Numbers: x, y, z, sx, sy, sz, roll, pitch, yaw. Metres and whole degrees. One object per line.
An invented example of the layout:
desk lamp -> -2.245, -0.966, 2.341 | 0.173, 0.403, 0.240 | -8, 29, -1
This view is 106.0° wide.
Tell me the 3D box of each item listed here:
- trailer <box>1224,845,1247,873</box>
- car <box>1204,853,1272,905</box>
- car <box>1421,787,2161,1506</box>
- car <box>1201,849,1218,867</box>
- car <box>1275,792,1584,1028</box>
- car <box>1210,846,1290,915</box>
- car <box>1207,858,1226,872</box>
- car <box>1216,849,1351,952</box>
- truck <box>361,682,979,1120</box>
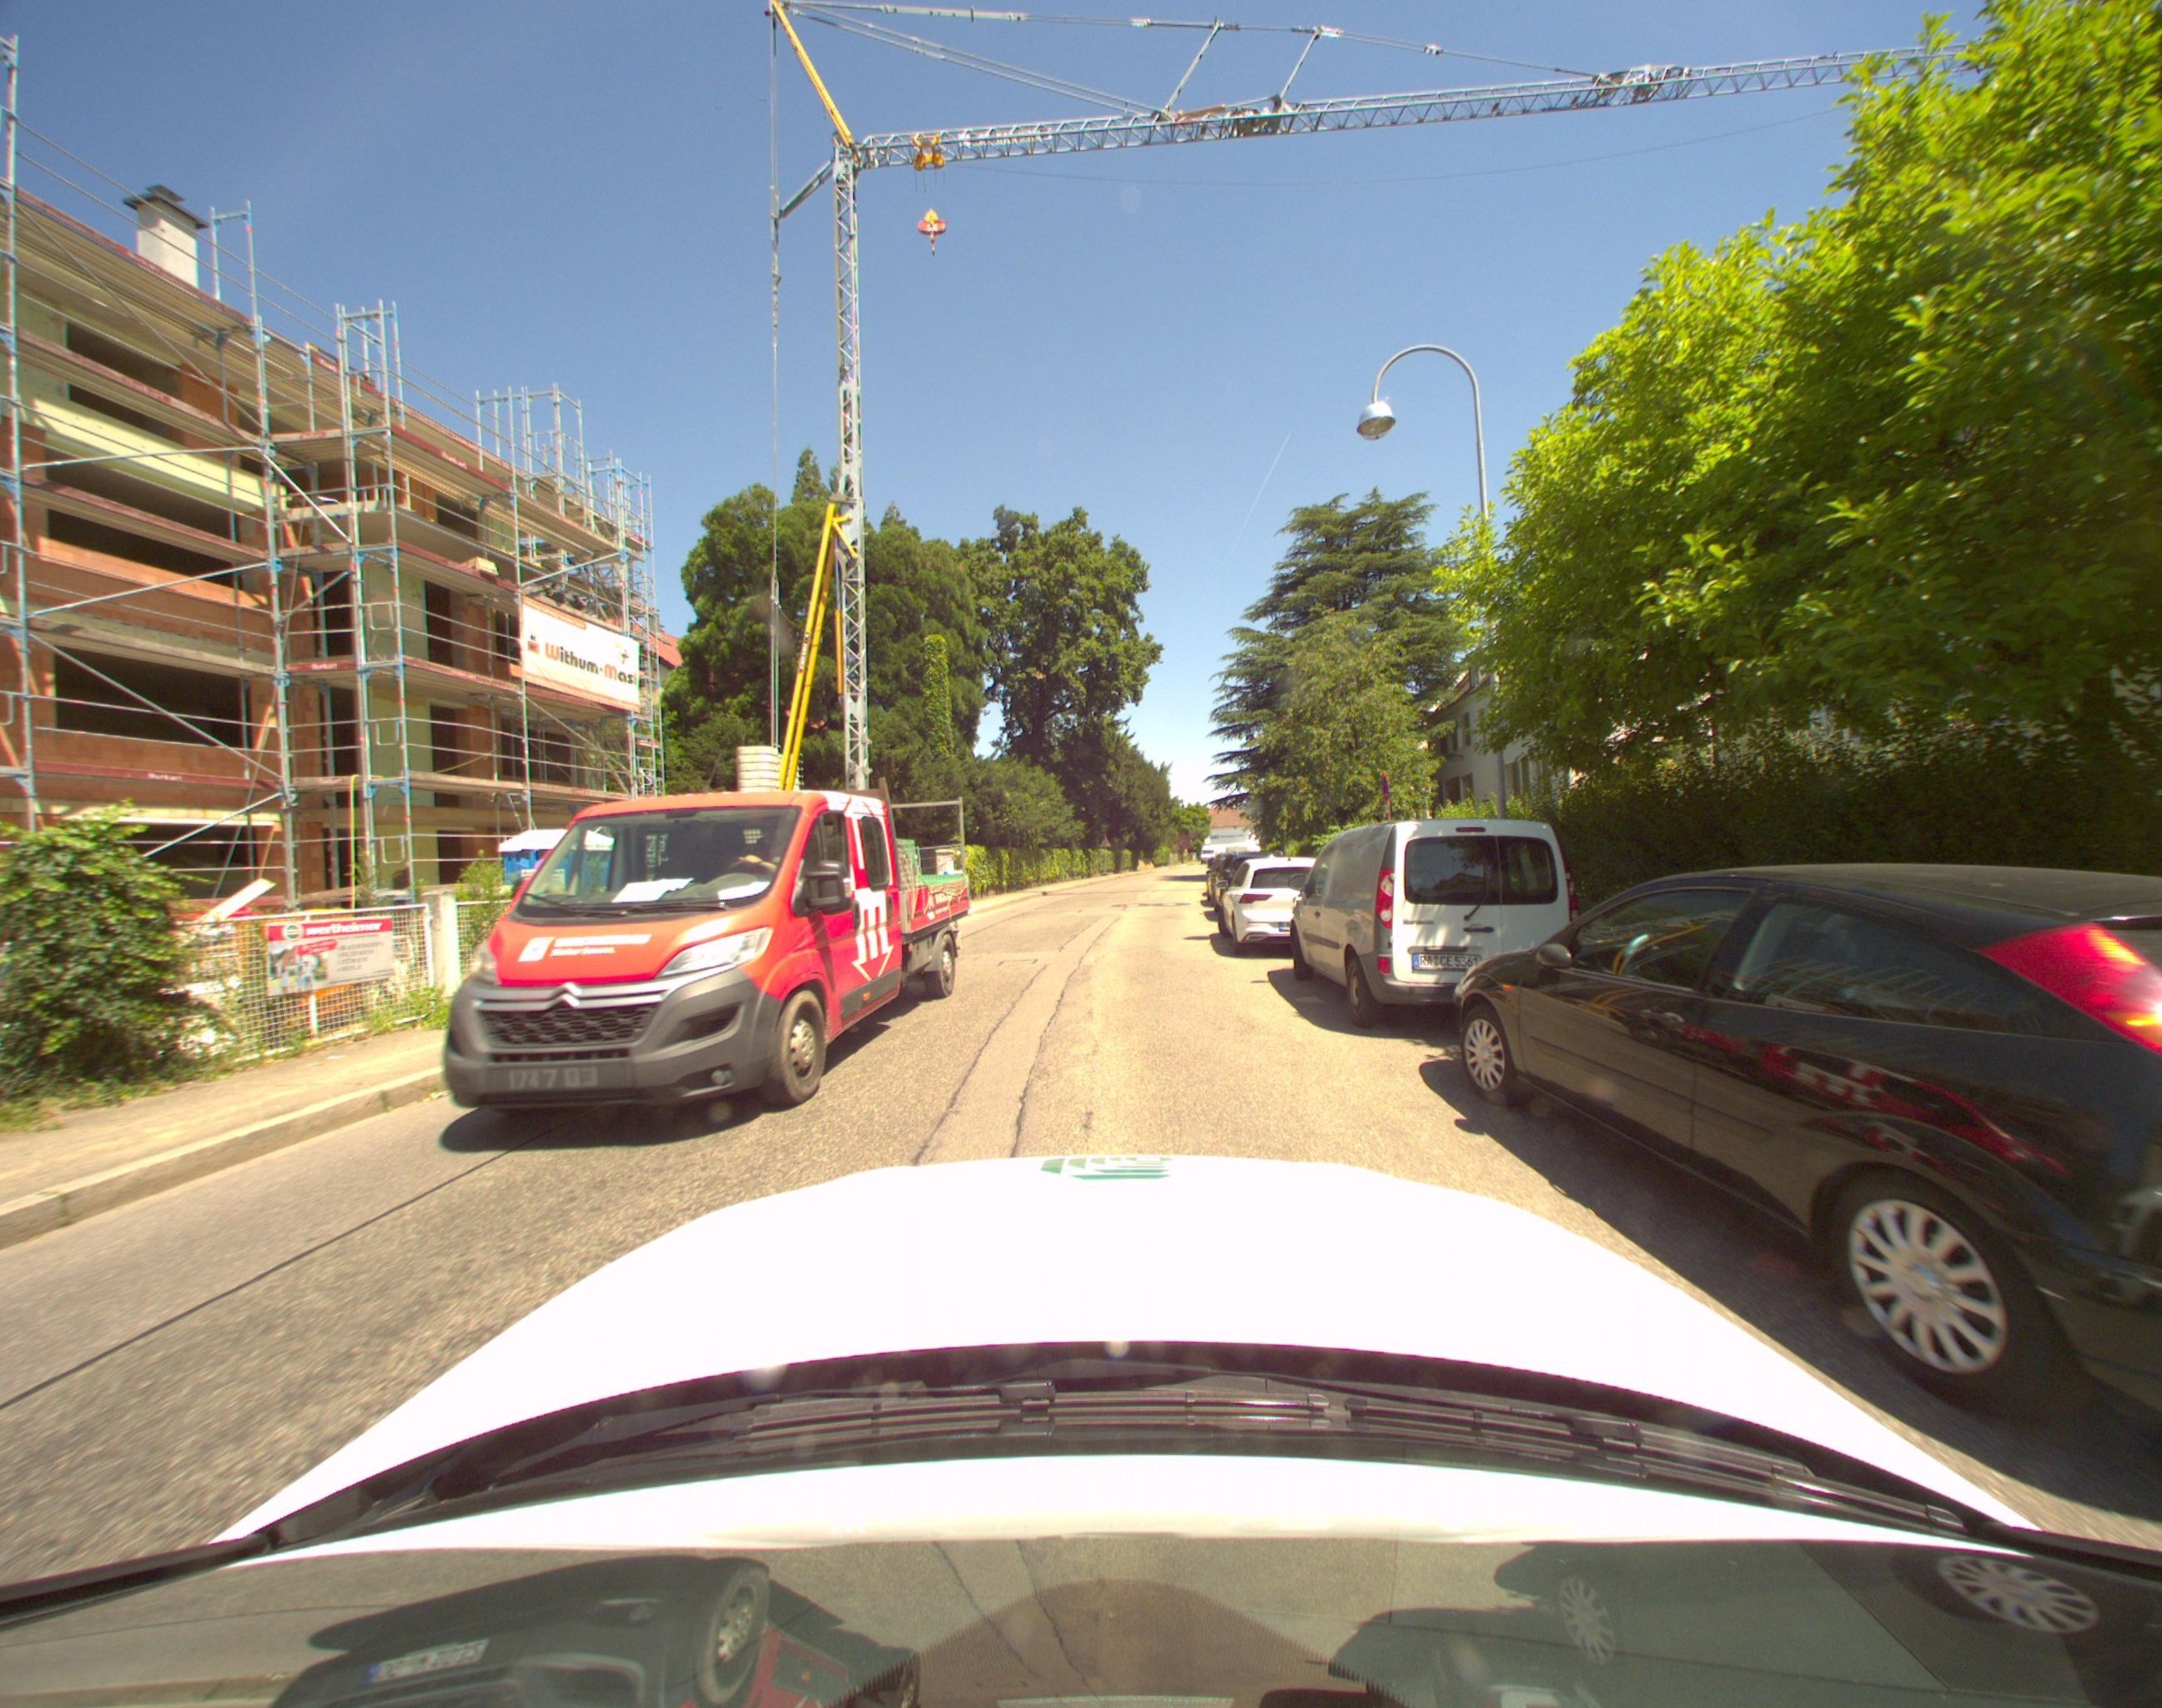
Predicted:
trailer -> 11.910, 0.382, 62.741 | 1.669, 2.068, 3.719 | 0, 0, 11
car -> 4.770, 0.716, 25.216 | 1.653, 1.432, 4.211 | -2, 0, 6
car -> 3.090, 0.626, 3.612 | 1.622, 1.463, 4.018 | 1, -1, 2
car -> 18.306, 0.569, 115.660 | 1.980, 2.533, 5.913 | -1, -1, 12
car -> 3.200, 0.446, 8.424 | 1.654, 1.803, 4.207 | 1, -1, 4
car -> 4.144, 0.620, 20.480 | 1.652, 1.538, 4.212 | 0, -1, 8
car -> 15.200, 1.196, 91.067 | 1.781, 1.510, 4.015 | 1, 0, 14
car -> 3.228, 0.683, 13.675 | 1.653, 1.435, 4.135 | 1, -1, 6
truck -> -2.680, 0.289, 7.670 | 2.118, 2.339, 6.441 | -2, 0, 4
